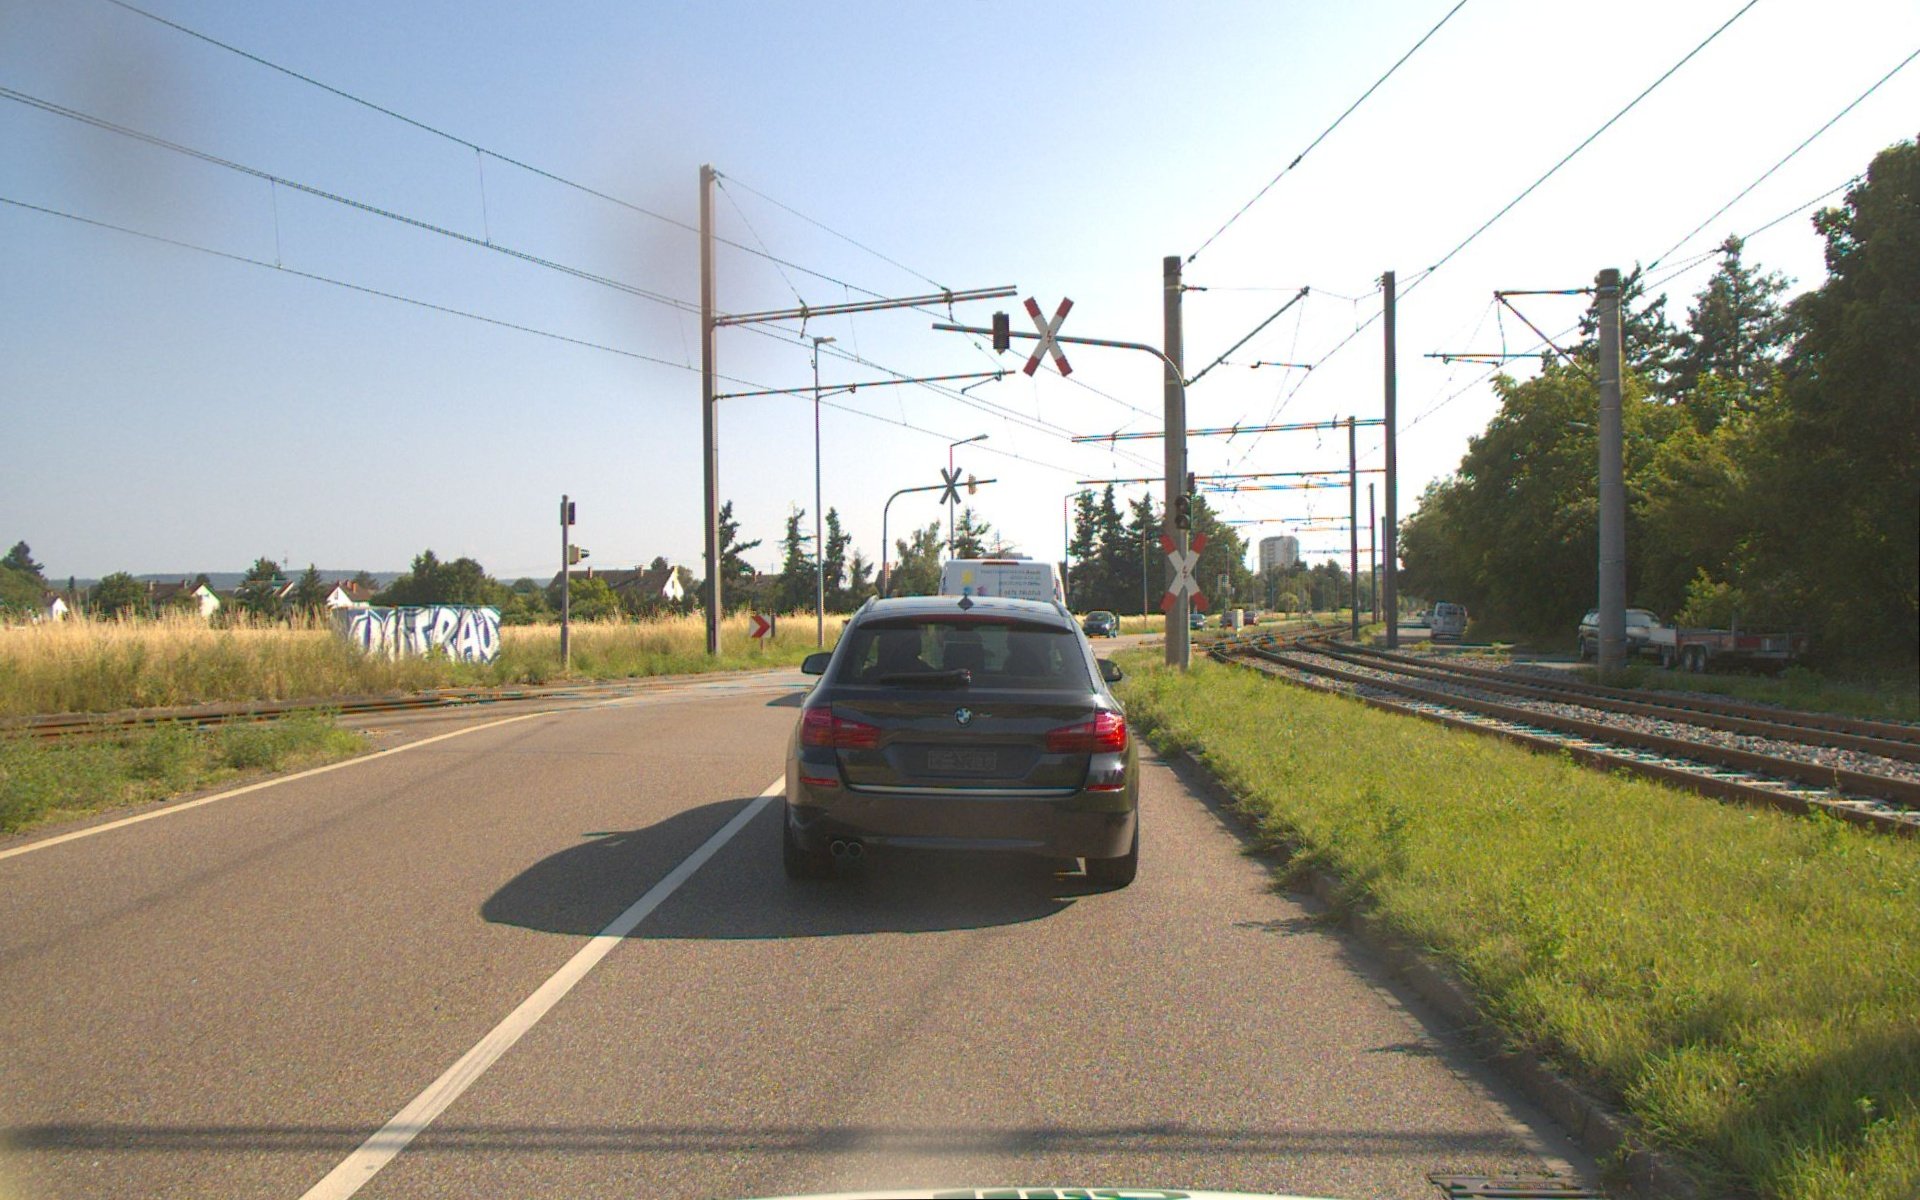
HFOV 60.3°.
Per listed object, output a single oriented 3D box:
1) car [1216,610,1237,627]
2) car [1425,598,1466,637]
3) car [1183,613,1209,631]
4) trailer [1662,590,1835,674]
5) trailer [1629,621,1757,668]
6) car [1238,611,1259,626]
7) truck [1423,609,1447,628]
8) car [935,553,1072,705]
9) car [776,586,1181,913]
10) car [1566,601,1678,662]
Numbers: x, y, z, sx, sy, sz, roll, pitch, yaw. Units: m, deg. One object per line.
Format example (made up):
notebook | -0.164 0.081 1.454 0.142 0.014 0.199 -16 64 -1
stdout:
car | 26.824 1.834 166.385 1.670 1.694 4.593 0 0 15
car | 27.021 0.970 92.198 1.951 2.039 5.070 2 0 14
car | 19.725 1.818 138.331 1.657 1.465 4.287 0 0 15
trailer | 16.757 0.652 35.397 1.984 1.624 4.262 2 0 6
trailer | 17.387 1.033 39.396 1.695 0.956 3.730 3 0 6
car | 31.889 2.012 182.579 1.677 1.576 3.930 0 0 19
truck | 47.374 1.835 164.971 2.157 1.851 5.933 0 -1 15
car | 0.754 0.395 24.668 1.818 2.023 5.110 0 0 4
car | 0.040 0.666 9.863 1.831 1.478 4.742 0 0 -1
car | 17.600 0.797 44.171 1.662 1.482 4.884 2 0 9
